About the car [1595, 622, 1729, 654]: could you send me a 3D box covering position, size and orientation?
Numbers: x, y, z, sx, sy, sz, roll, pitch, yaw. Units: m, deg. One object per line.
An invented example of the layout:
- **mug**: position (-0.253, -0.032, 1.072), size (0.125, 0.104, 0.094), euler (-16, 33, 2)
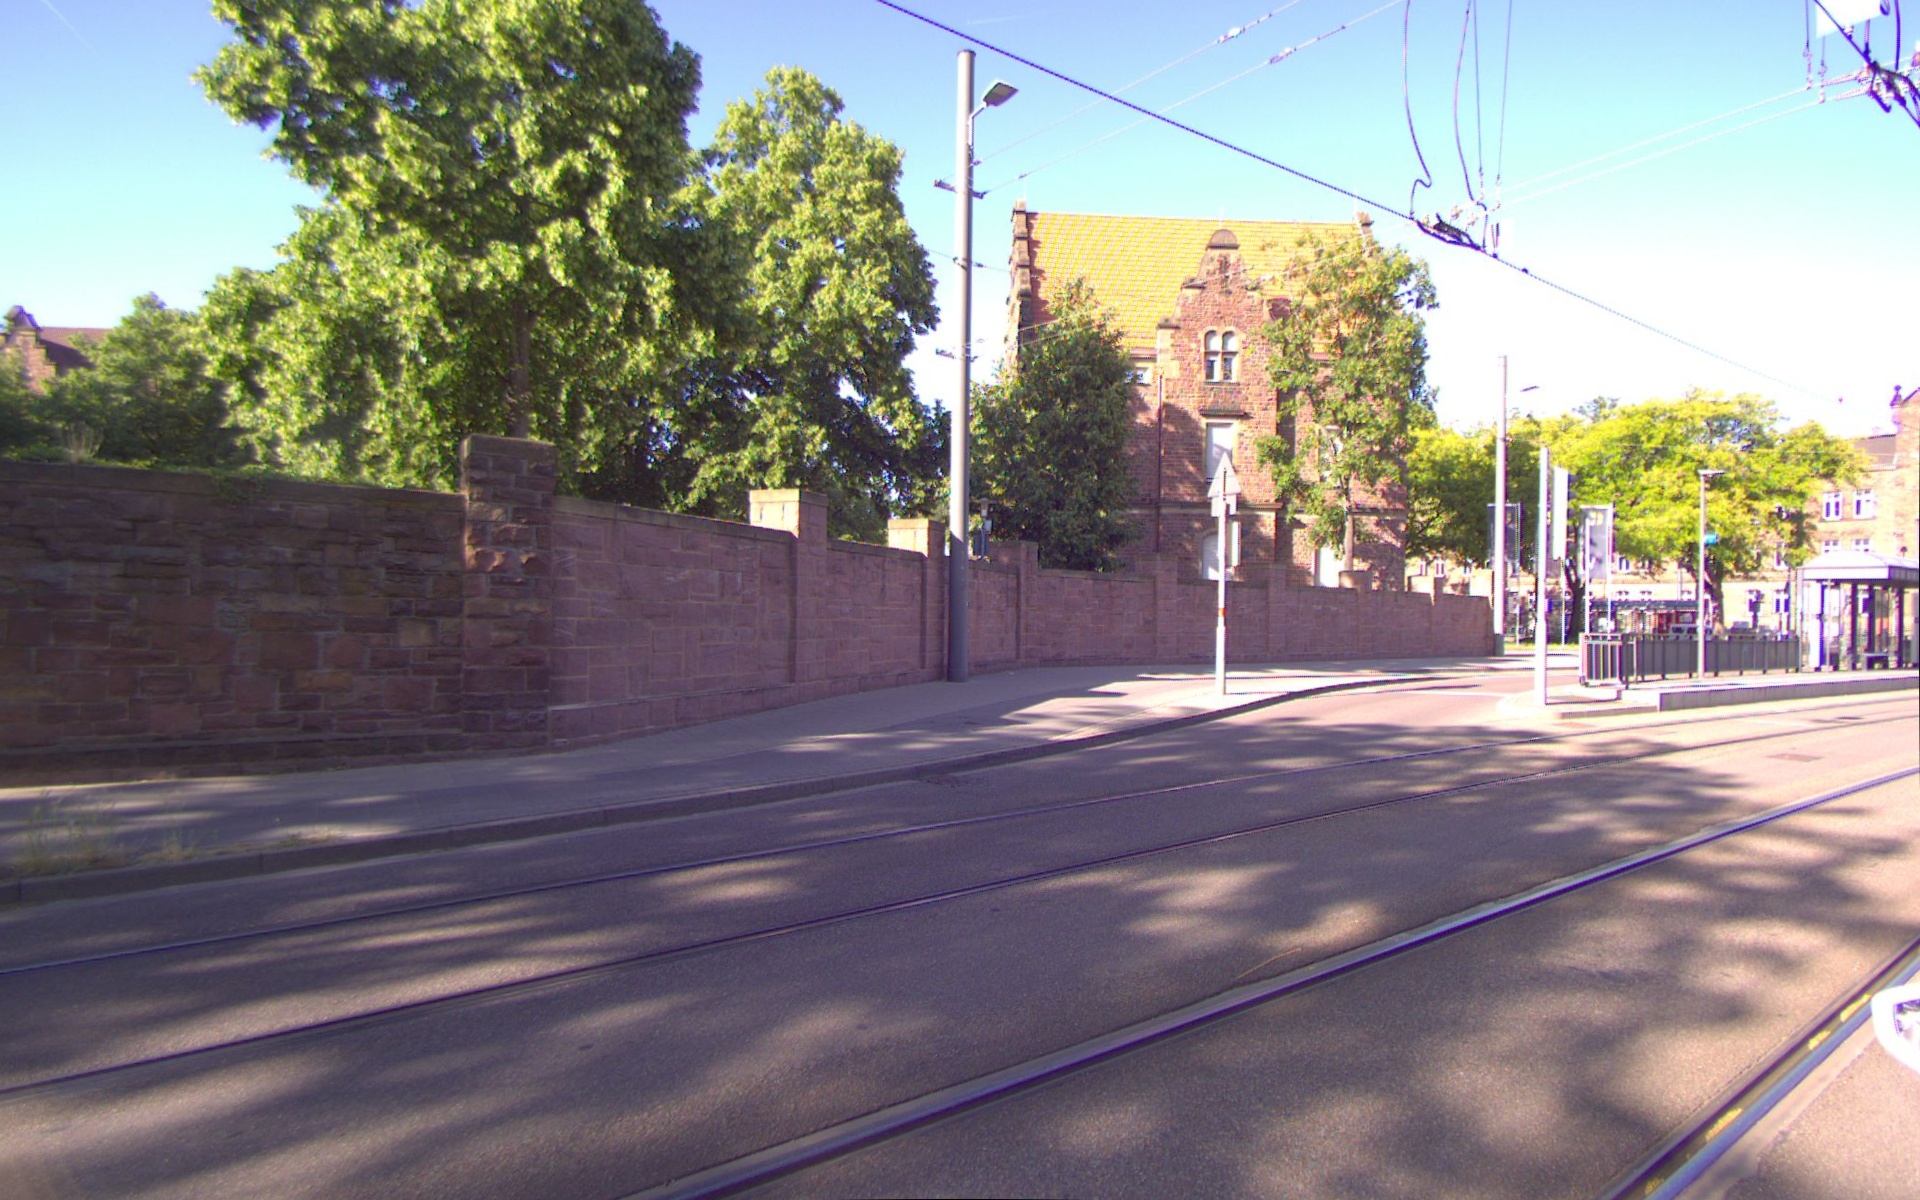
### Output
- **car**: position (47.936, 2.587, 68.809), size (2.957, 1.946, 6.915), euler (1, -1, -30)
